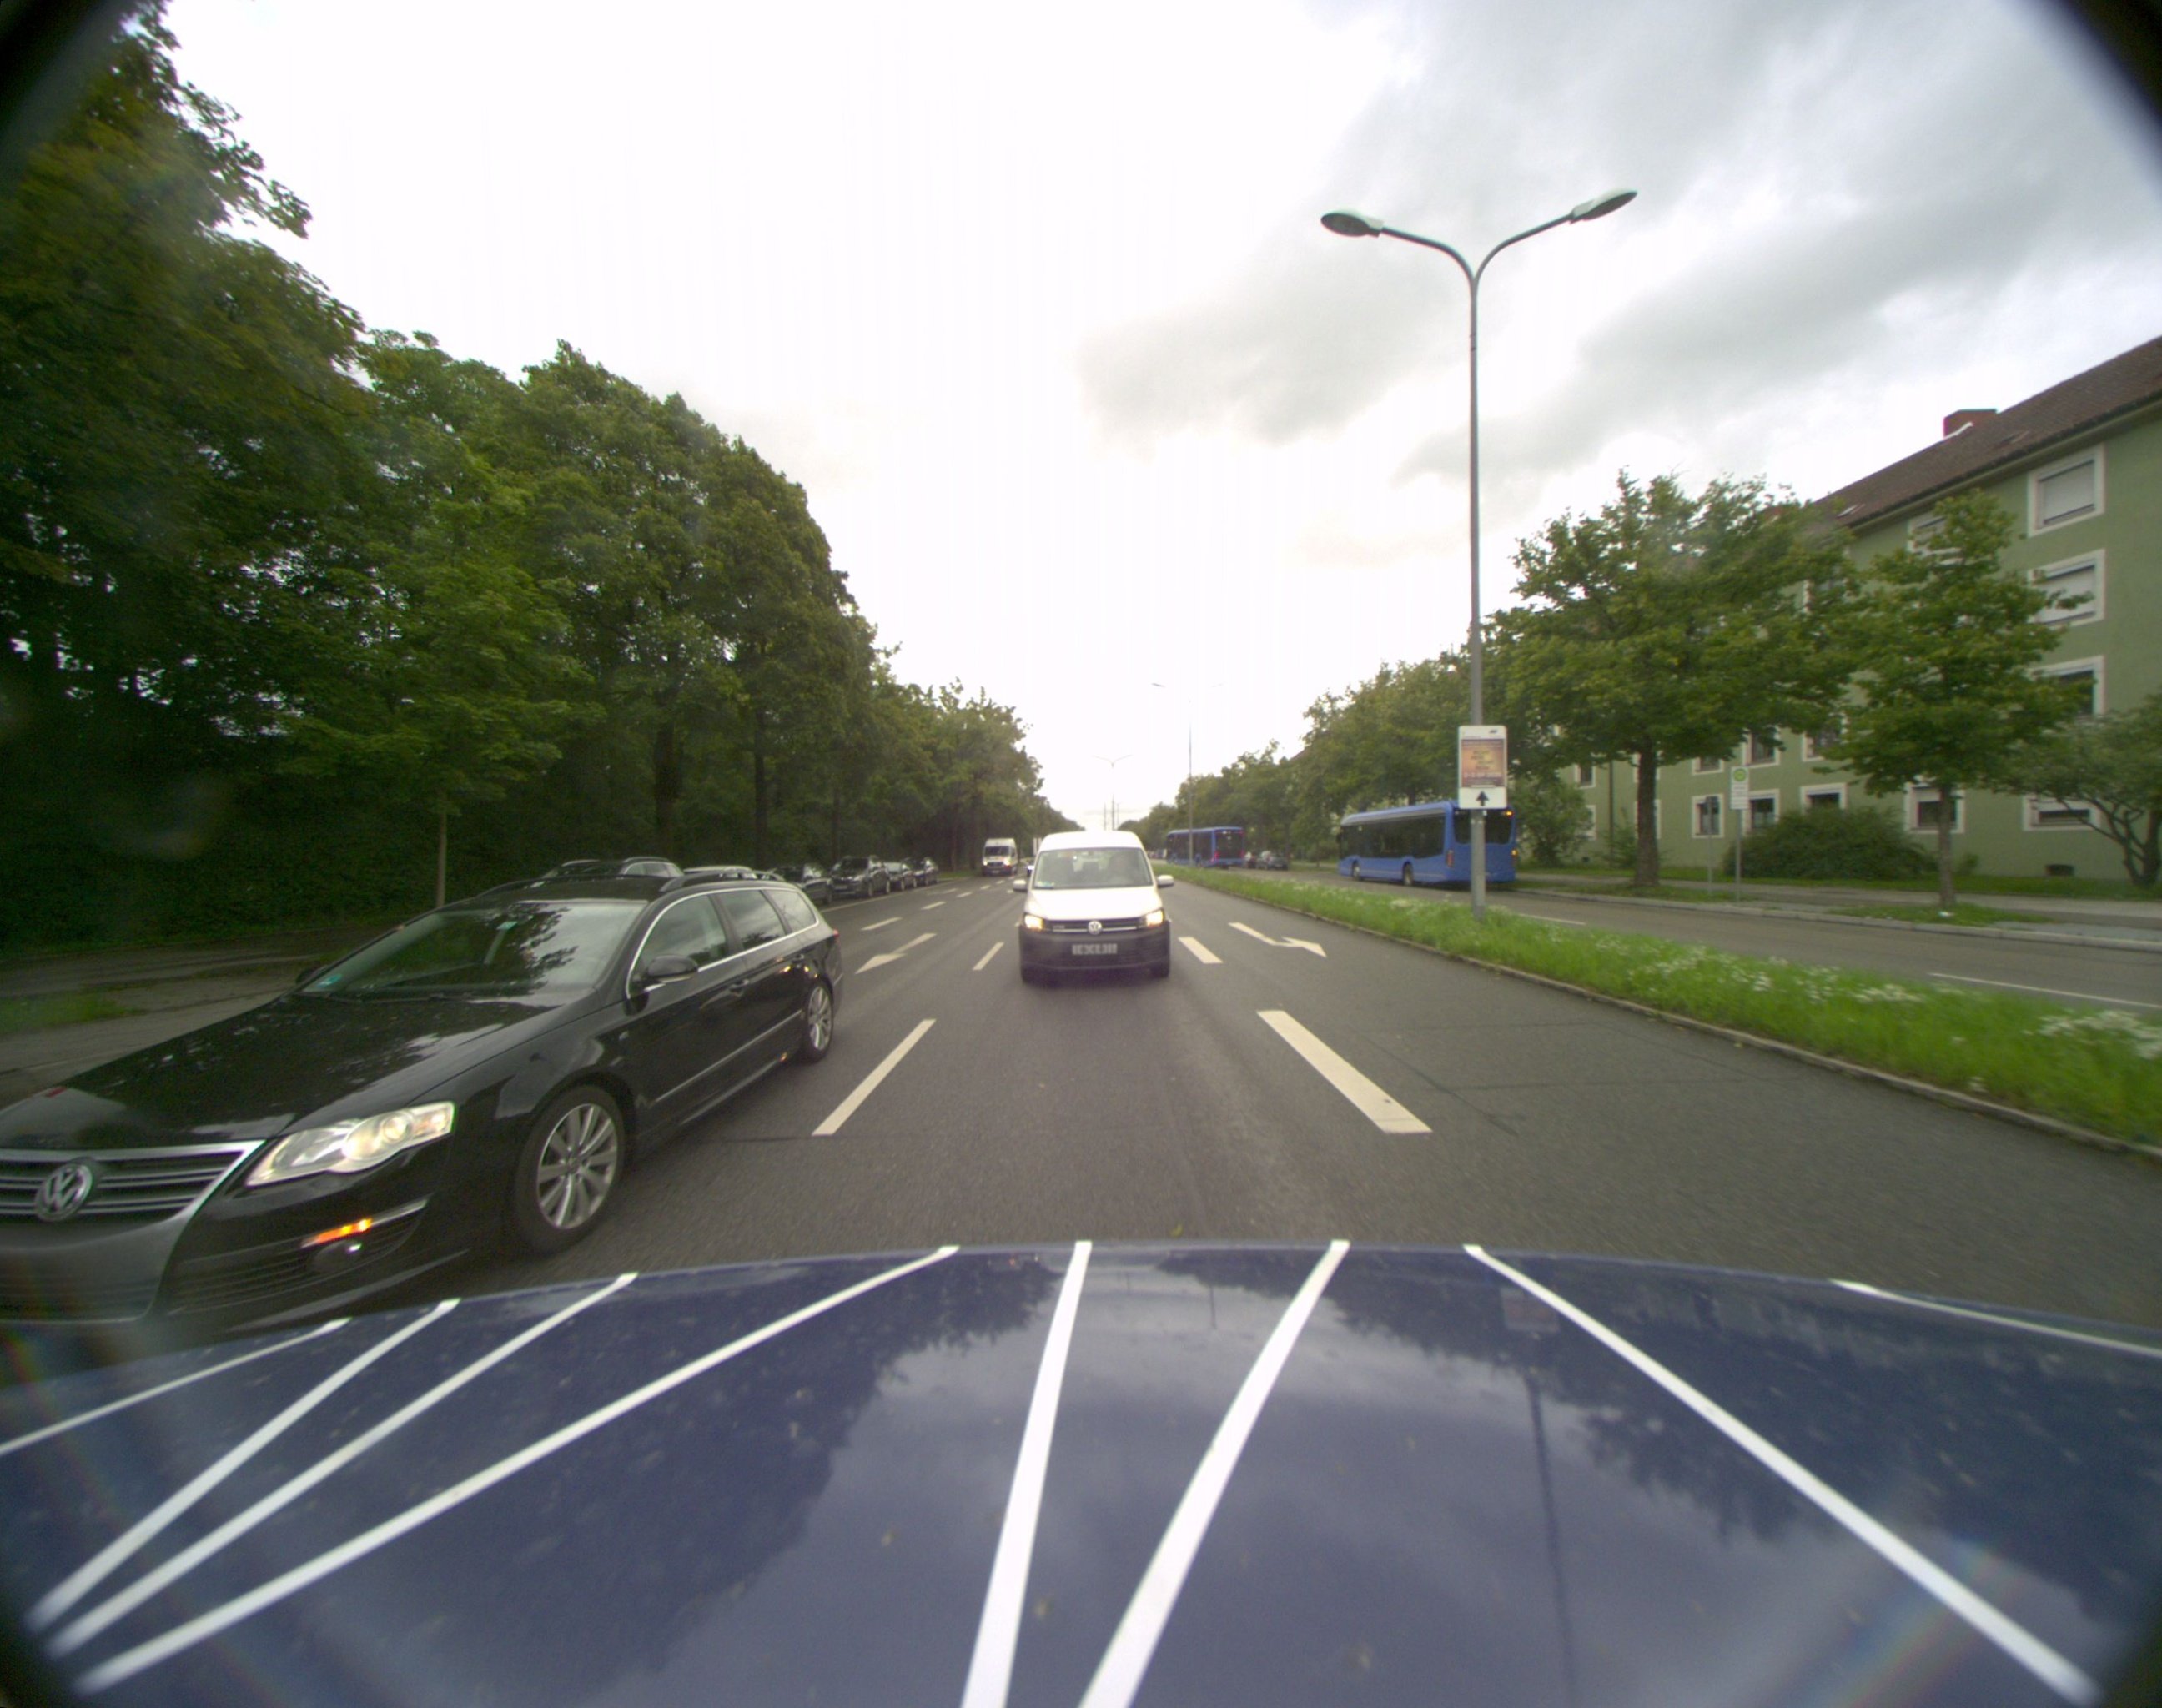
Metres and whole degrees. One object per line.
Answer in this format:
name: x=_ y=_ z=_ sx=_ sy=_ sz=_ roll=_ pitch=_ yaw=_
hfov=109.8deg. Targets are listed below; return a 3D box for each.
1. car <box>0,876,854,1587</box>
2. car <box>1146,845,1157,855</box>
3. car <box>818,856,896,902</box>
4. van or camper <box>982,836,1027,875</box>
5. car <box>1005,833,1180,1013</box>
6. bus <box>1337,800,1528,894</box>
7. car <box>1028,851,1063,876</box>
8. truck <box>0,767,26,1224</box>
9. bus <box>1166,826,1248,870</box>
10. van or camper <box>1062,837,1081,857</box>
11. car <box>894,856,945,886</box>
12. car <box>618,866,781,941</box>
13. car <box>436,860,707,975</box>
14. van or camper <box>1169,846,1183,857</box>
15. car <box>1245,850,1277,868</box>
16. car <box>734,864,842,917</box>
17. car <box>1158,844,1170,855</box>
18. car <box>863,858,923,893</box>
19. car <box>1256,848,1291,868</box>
car: x=-2.847 y=0.973 z=4.105 sx=1.752 sy=1.466 sz=4.671 roll=-2 pitch=1 yaw=1
car: x=14.782 y=-0.818 z=159.541 sx=1.998 sy=2.002 sz=3.999 roll=-1 pitch=1 yaw=1
car: x=-8.809 y=0.922 z=30.236 sx=1.752 sy=1.640 sz=4.255 roll=-1 pitch=1 yaw=1
van or camper: x=-5.301 y=0.046 z=53.624 sx=2.183 sy=2.546 sz=7.075 roll=-1 pitch=1 yaw=2
car: x=0.141 y=0.684 z=10.070 sx=1.752 sy=1.809 sz=4.671 roll=-1 pitch=1 yaw=1
bus: x=14.499 y=-0.295 z=32.961 sx=2.752 sy=3.324 sz=12.048 roll=0 pitch=1 yaw=1
car: x=-2.281 y=0.582 z=49.868 sx=1.819 sy=1.421 sz=4.671 roll=-2 pitch=0 yaw=2
truck: x=-6.387 y=0.604 z=0.213 sx=1.998 sy=2.589 sz=7.226 roll=-2 pitch=1 yaw=0
bus: x=10.323 y=-0.512 z=63.950 sx=2.755 sy=3.324 sz=12.260 roll=0 pitch=1 yaw=-11
van or camper: x=-1.544 y=-1.152 z=128.139 sx=2.780 sy=3.219 sz=7.075 roll=-1 pitch=1 yaw=2
car: x=-8.544 y=0.877 z=40.582 sx=1.752 sy=1.459 sz=4.255 roll=-1 pitch=1 yaw=1
car: x=-9.230 y=1.118 z=18.862 sx=1.752 sy=1.515 sz=4.396 roll=-1 pitch=1 yaw=1
car: x=-8.867 y=0.987 z=13.810 sx=1.884 sy=1.640 sz=4.396 roll=-1 pitch=1 yaw=1
van or camper: x=16.542 y=-0.441 z=132.874 sx=1.998 sy=2.002 sz=3.999 roll=-1 pitch=1 yaw=1
car: x=15.325 y=0.406 z=64.747 sx=1.857 sy=1.454 sz=3.910 roll=-2 pitch=1 yaw=2
car: x=-9.262 y=1.095 z=24.401 sx=1.752 sy=1.420 sz=4.255 roll=-1 pitch=1 yaw=1
car: x=16.015 y=-0.834 z=146.439 sx=1.998 sy=2.002 sz=3.999 roll=-1 pitch=1 yaw=1
car: x=-8.731 y=0.942 z=35.639 sx=1.752 sy=1.459 sz=4.038 roll=-1 pitch=1 yaw=1
car: x=15.154 y=0.304 z=60.072 sx=1.857 sy=1.454 sz=3.910 roll=-2 pitch=1 yaw=2
